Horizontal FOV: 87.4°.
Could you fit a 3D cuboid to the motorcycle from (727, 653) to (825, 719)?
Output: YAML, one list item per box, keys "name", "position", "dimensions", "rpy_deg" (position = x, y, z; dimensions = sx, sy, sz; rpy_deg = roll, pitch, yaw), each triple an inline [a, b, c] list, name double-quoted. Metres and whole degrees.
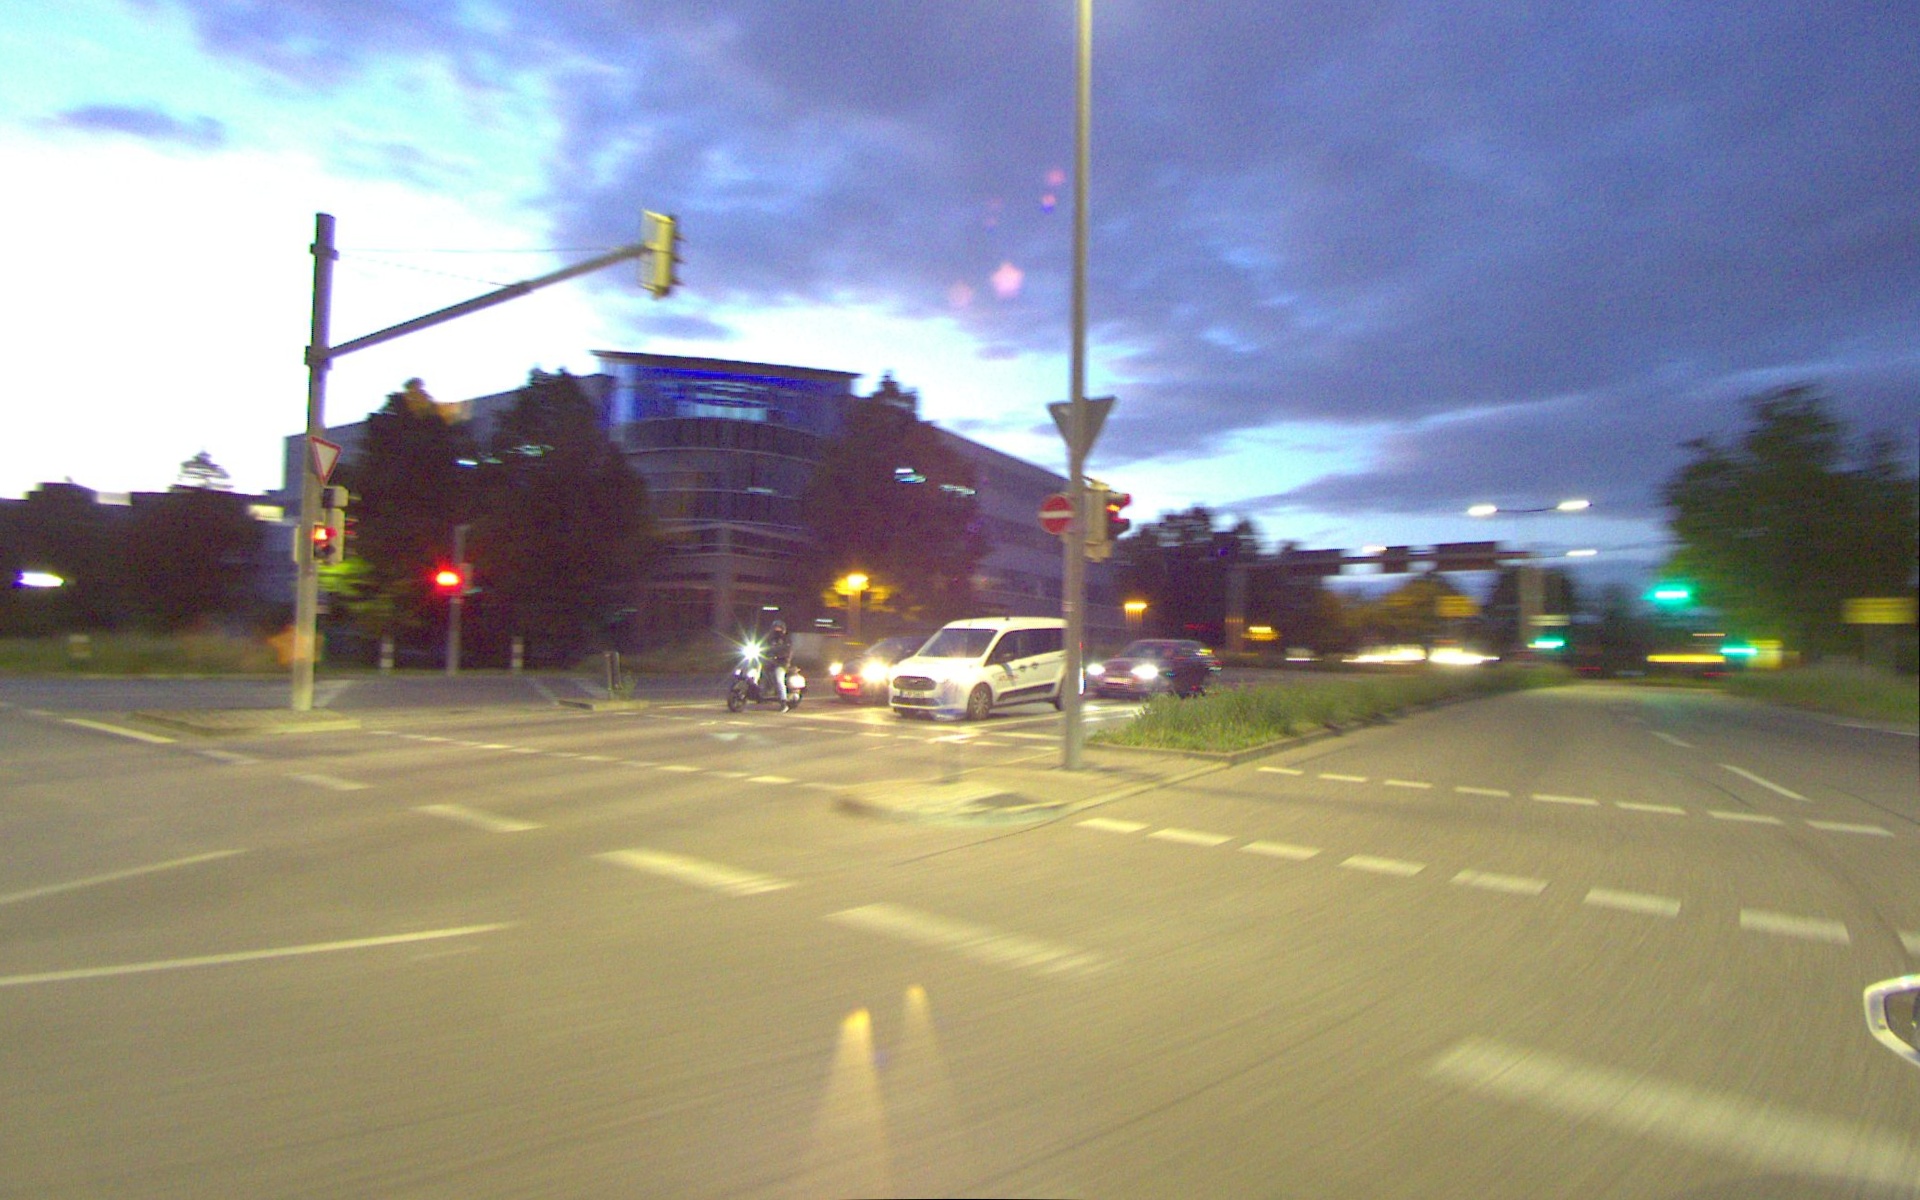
- name: "motorcycle"
  position: [-3.449, 1.591, 18.945]
  dimensions: [0.663, 1.179, 1.799]
  rpy_deg: [-1, -3, 41]

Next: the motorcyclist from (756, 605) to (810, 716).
- name: "motorcyclist"
  position: [-3.354, 1.137, 19.069]
  dimensions: [0.627, 2.040, 0.764]
  rpy_deg: [-1, -3, 42]

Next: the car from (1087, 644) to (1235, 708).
- name: "car"
  position: [5.177, 1.865, 25.322]
  dimensions: [1.847, 1.416, 4.822]
  rpy_deg: [0, -3, 36]

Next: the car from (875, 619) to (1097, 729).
- name: "car"
  position: [0.650, 1.344, 19.196]
  dimensions: [1.820, 1.838, 4.757]
  rpy_deg: [-1, -3, 37]

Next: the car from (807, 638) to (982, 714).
- name: "car"
  position: [-1.335, 1.598, 21.801]
  dimensions: [1.747, 1.466, 3.767]
  rpy_deg: [-1, -3, 37]
